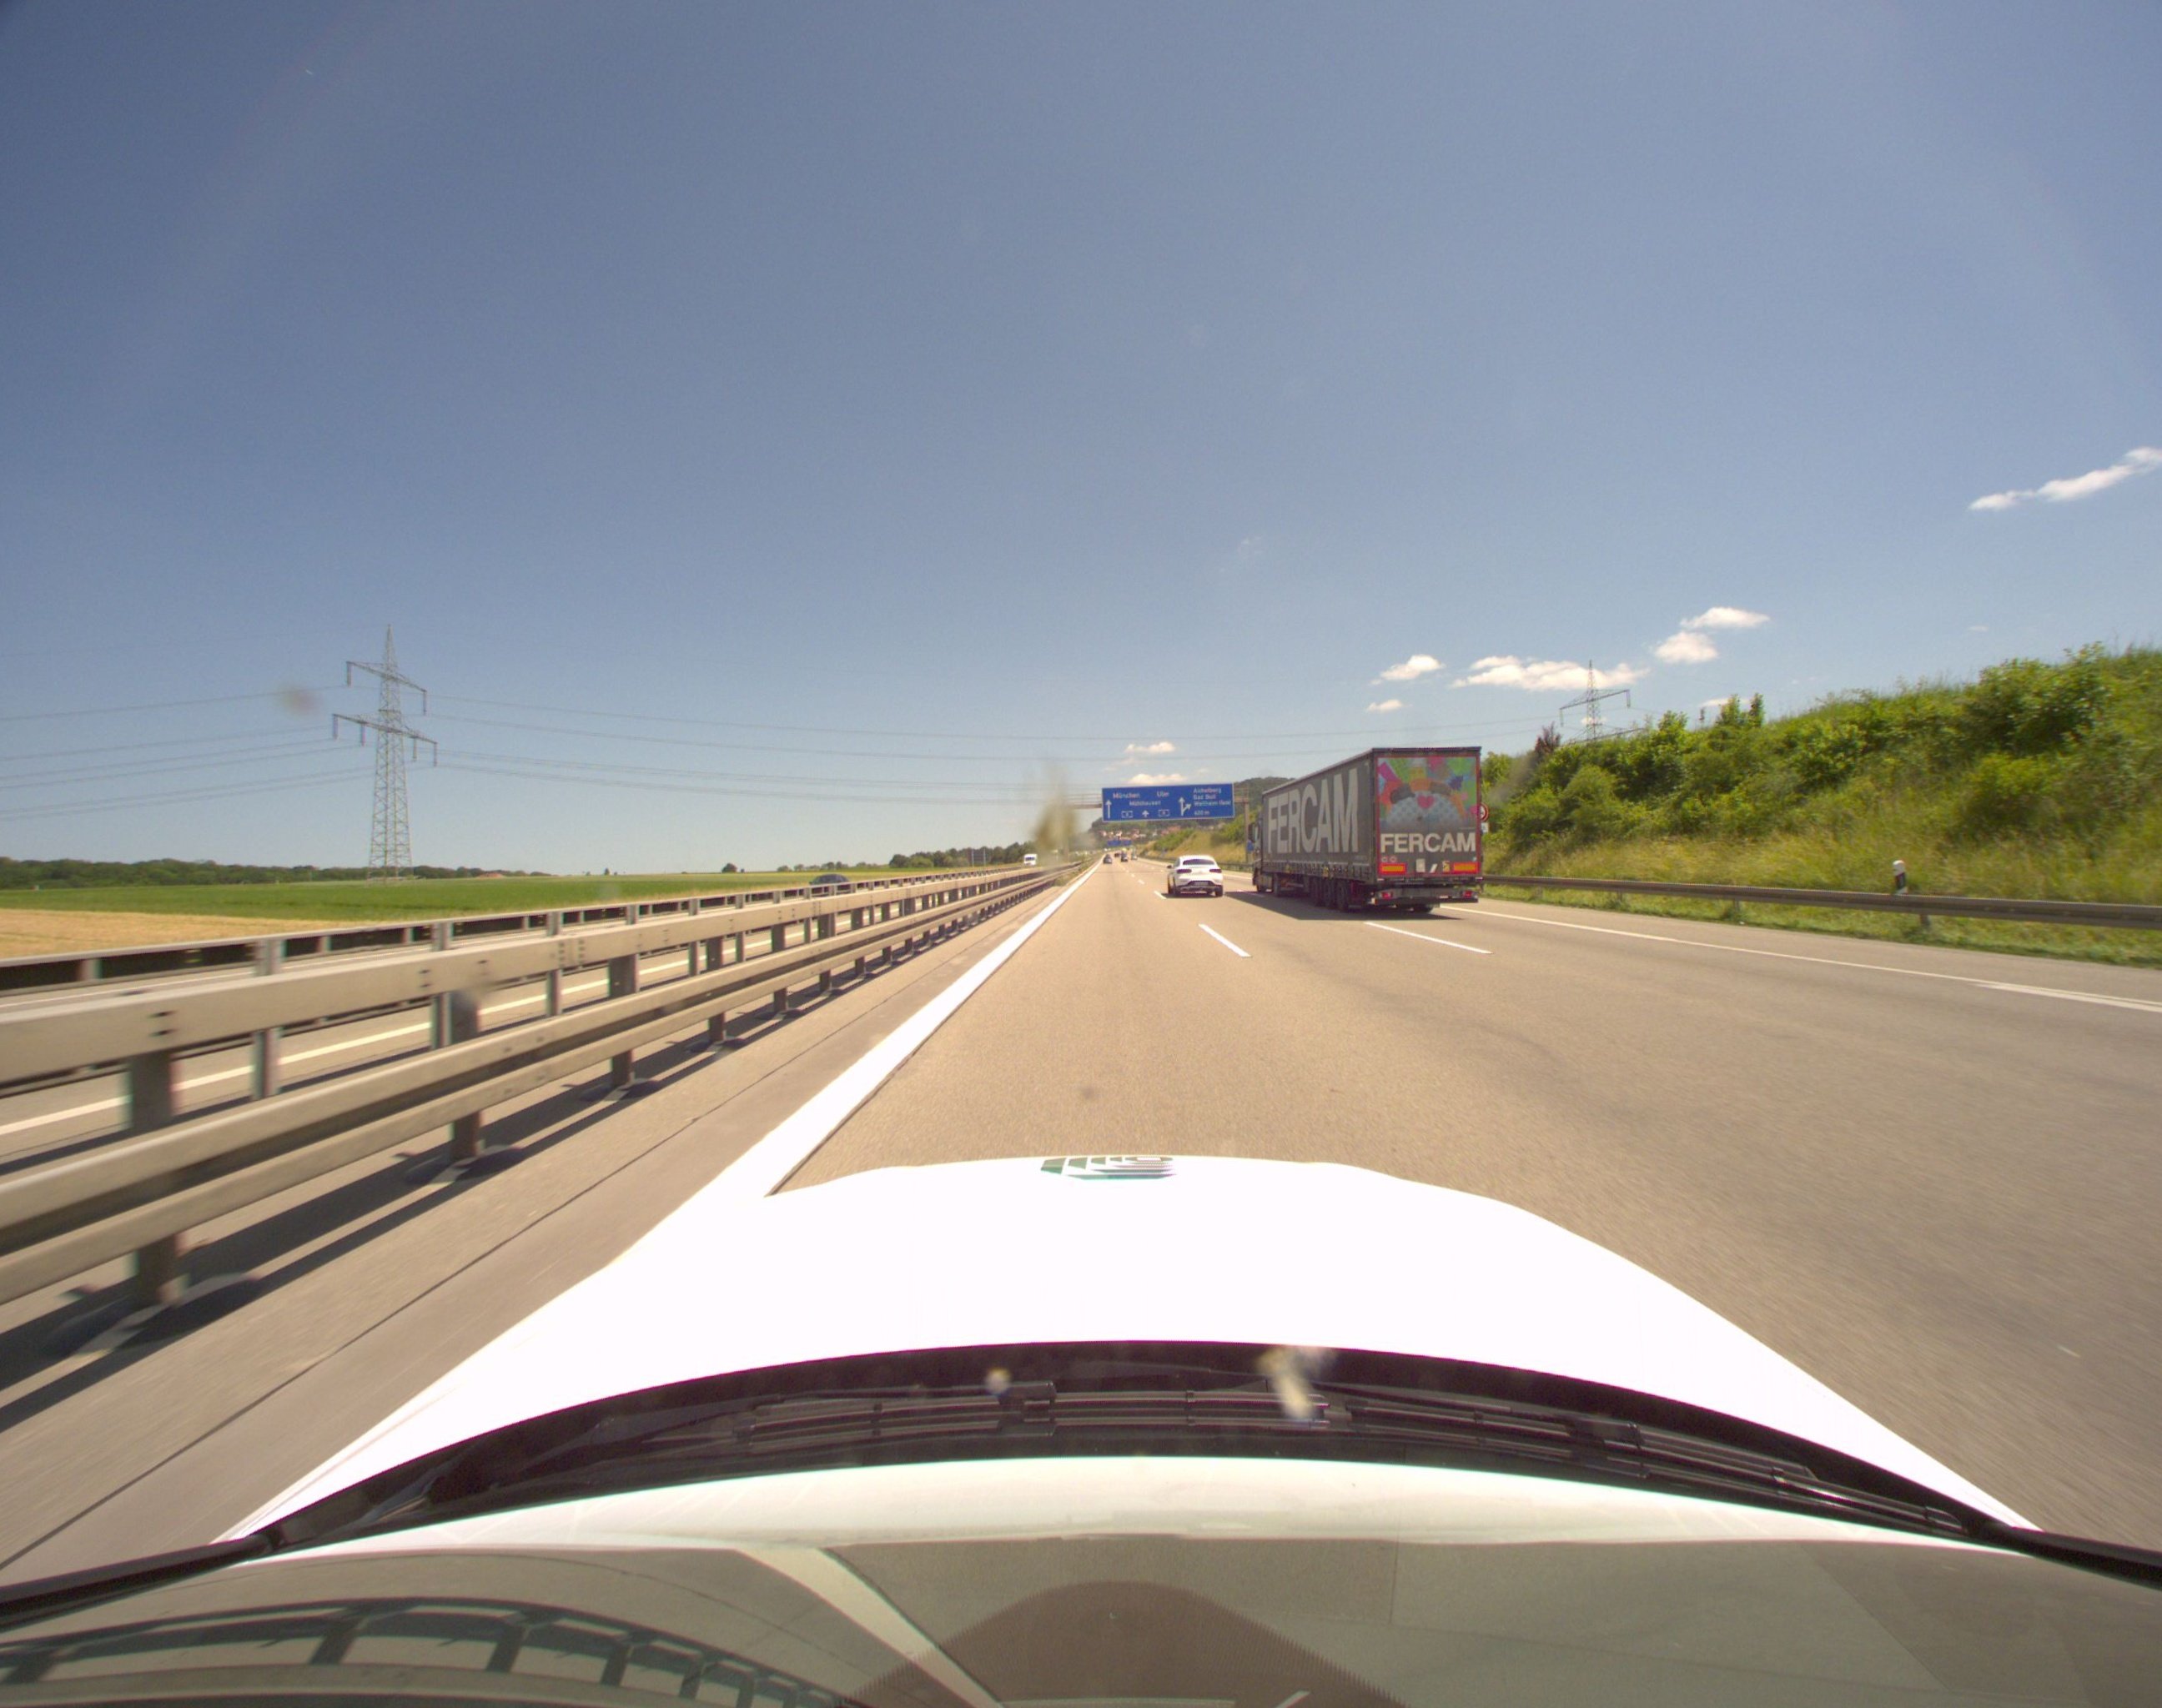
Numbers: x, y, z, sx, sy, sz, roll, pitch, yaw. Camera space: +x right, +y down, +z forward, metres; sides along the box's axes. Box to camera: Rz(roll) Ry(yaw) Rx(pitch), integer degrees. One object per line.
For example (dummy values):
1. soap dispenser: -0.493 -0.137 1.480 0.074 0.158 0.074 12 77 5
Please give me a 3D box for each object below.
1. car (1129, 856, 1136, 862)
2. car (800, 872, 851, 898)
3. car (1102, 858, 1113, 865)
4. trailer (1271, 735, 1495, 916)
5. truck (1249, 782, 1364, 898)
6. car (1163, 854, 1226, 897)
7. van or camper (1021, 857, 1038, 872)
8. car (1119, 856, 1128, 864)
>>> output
1. car: 15.758 1.452 247.213 1.986 1.818 4.002 -2 0 2
2. car: -14.977 1.808 48.008 1.567 1.306 4.043 -2 0 2
3. car: 5.133 1.412 155.777 1.986 1.389 4.002 0 -1 2
4. trailer: 8.306 -0.588 24.586 2.715 4.155 11.812 0 -1 2
5. truck: 8.534 -0.460 31.680 2.742 4.020 6.791 0 -1 2
6. car: 4.463 0.836 32.725 1.907 1.581 5.232 0 -1 1
7. van or camper: -8.552 1.713 135.622 2.219 2.509 6.599 0 -1 2
8. car: 9.875 1.390 188.432 1.986 2.014 4.002 0 -1 2
